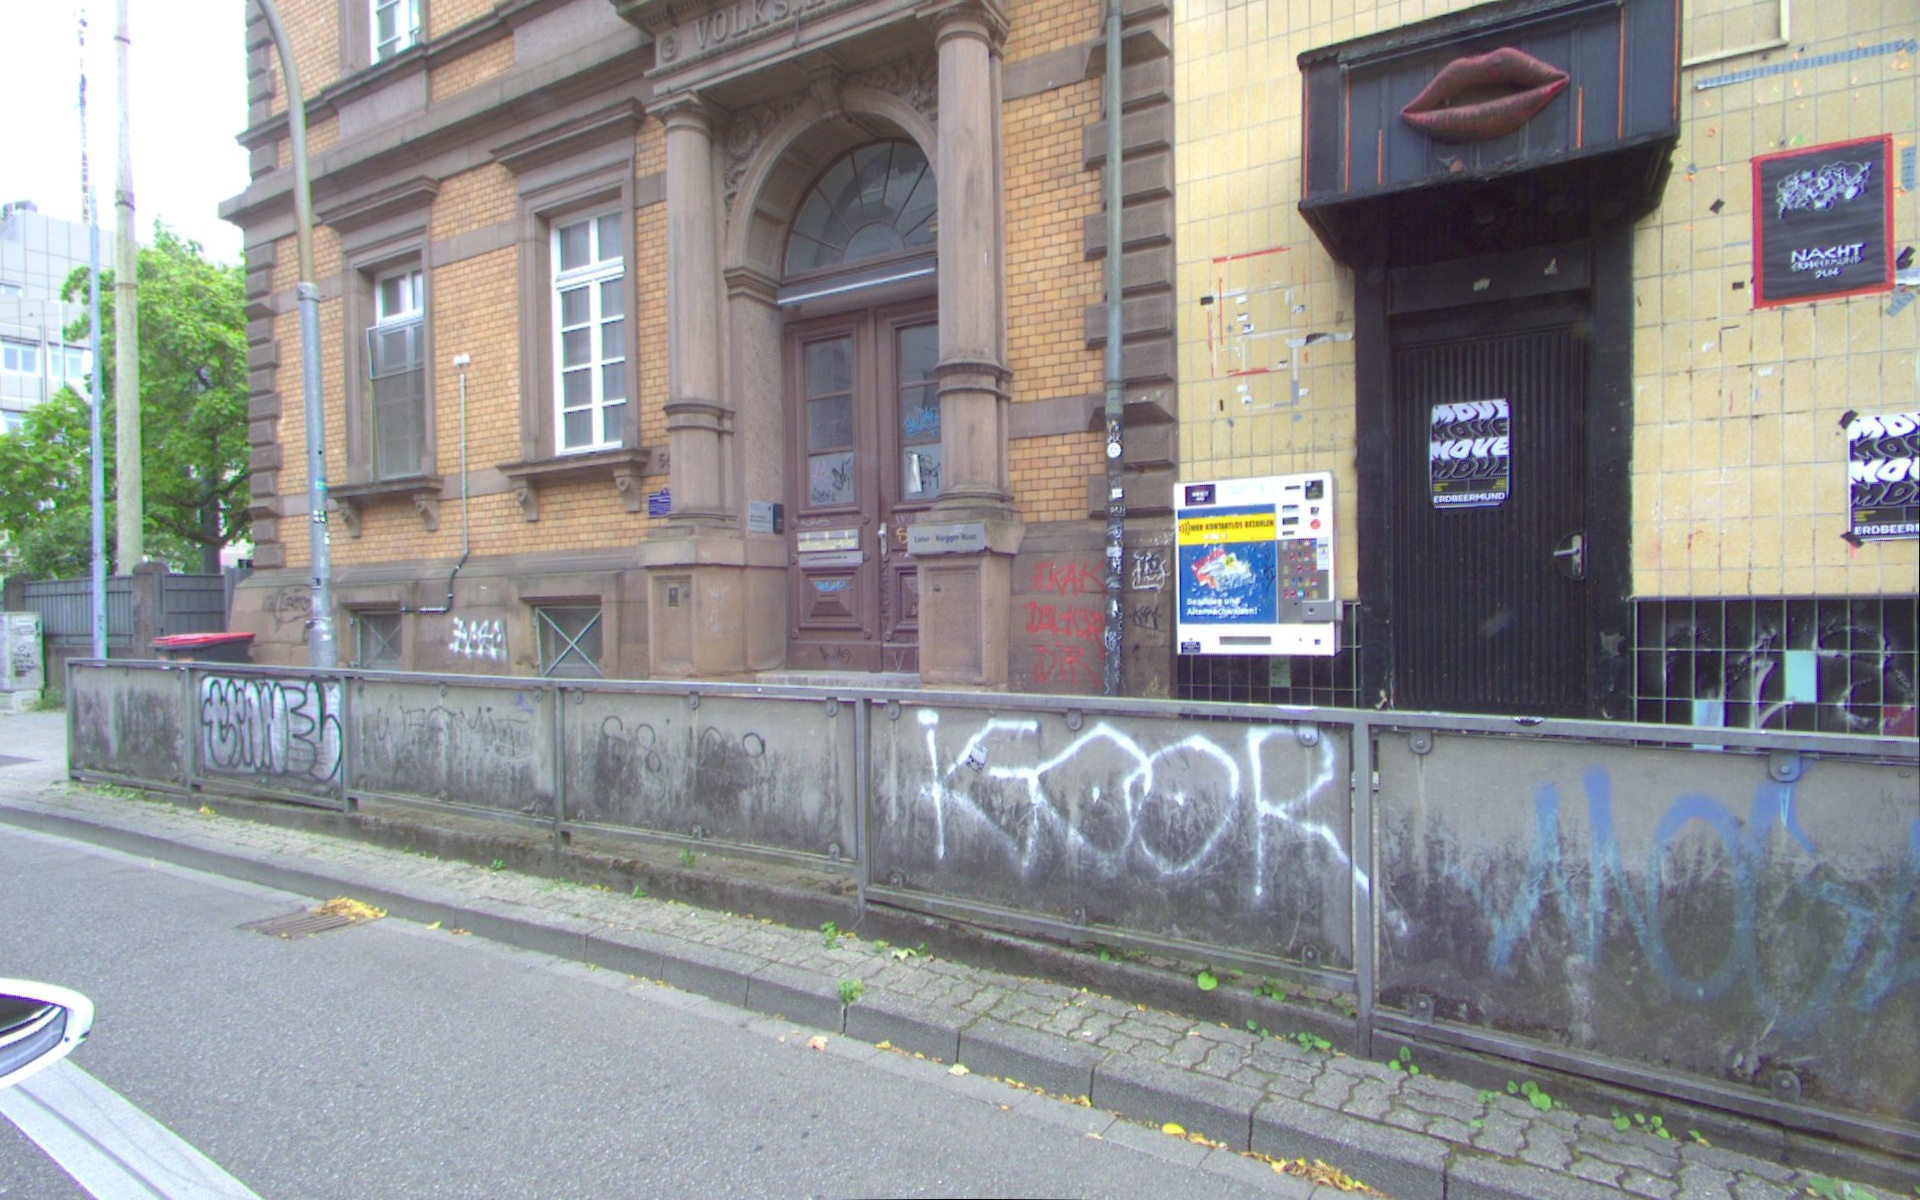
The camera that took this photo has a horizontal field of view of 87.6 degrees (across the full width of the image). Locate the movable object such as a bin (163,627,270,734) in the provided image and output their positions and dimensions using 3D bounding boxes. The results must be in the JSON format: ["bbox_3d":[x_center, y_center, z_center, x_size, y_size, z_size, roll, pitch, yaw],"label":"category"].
[{"bbox_3d":[-8.325,0.884,11.227,0.690,1.097,0.662,-1,4,27],"label":"movable object such as a bin"}]

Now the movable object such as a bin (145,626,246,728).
[{"bbox_3d":[-8.889,0.874,11.656,0.667,1.097,0.650,-1,4,27],"label":"movable object such as a bin"}]
